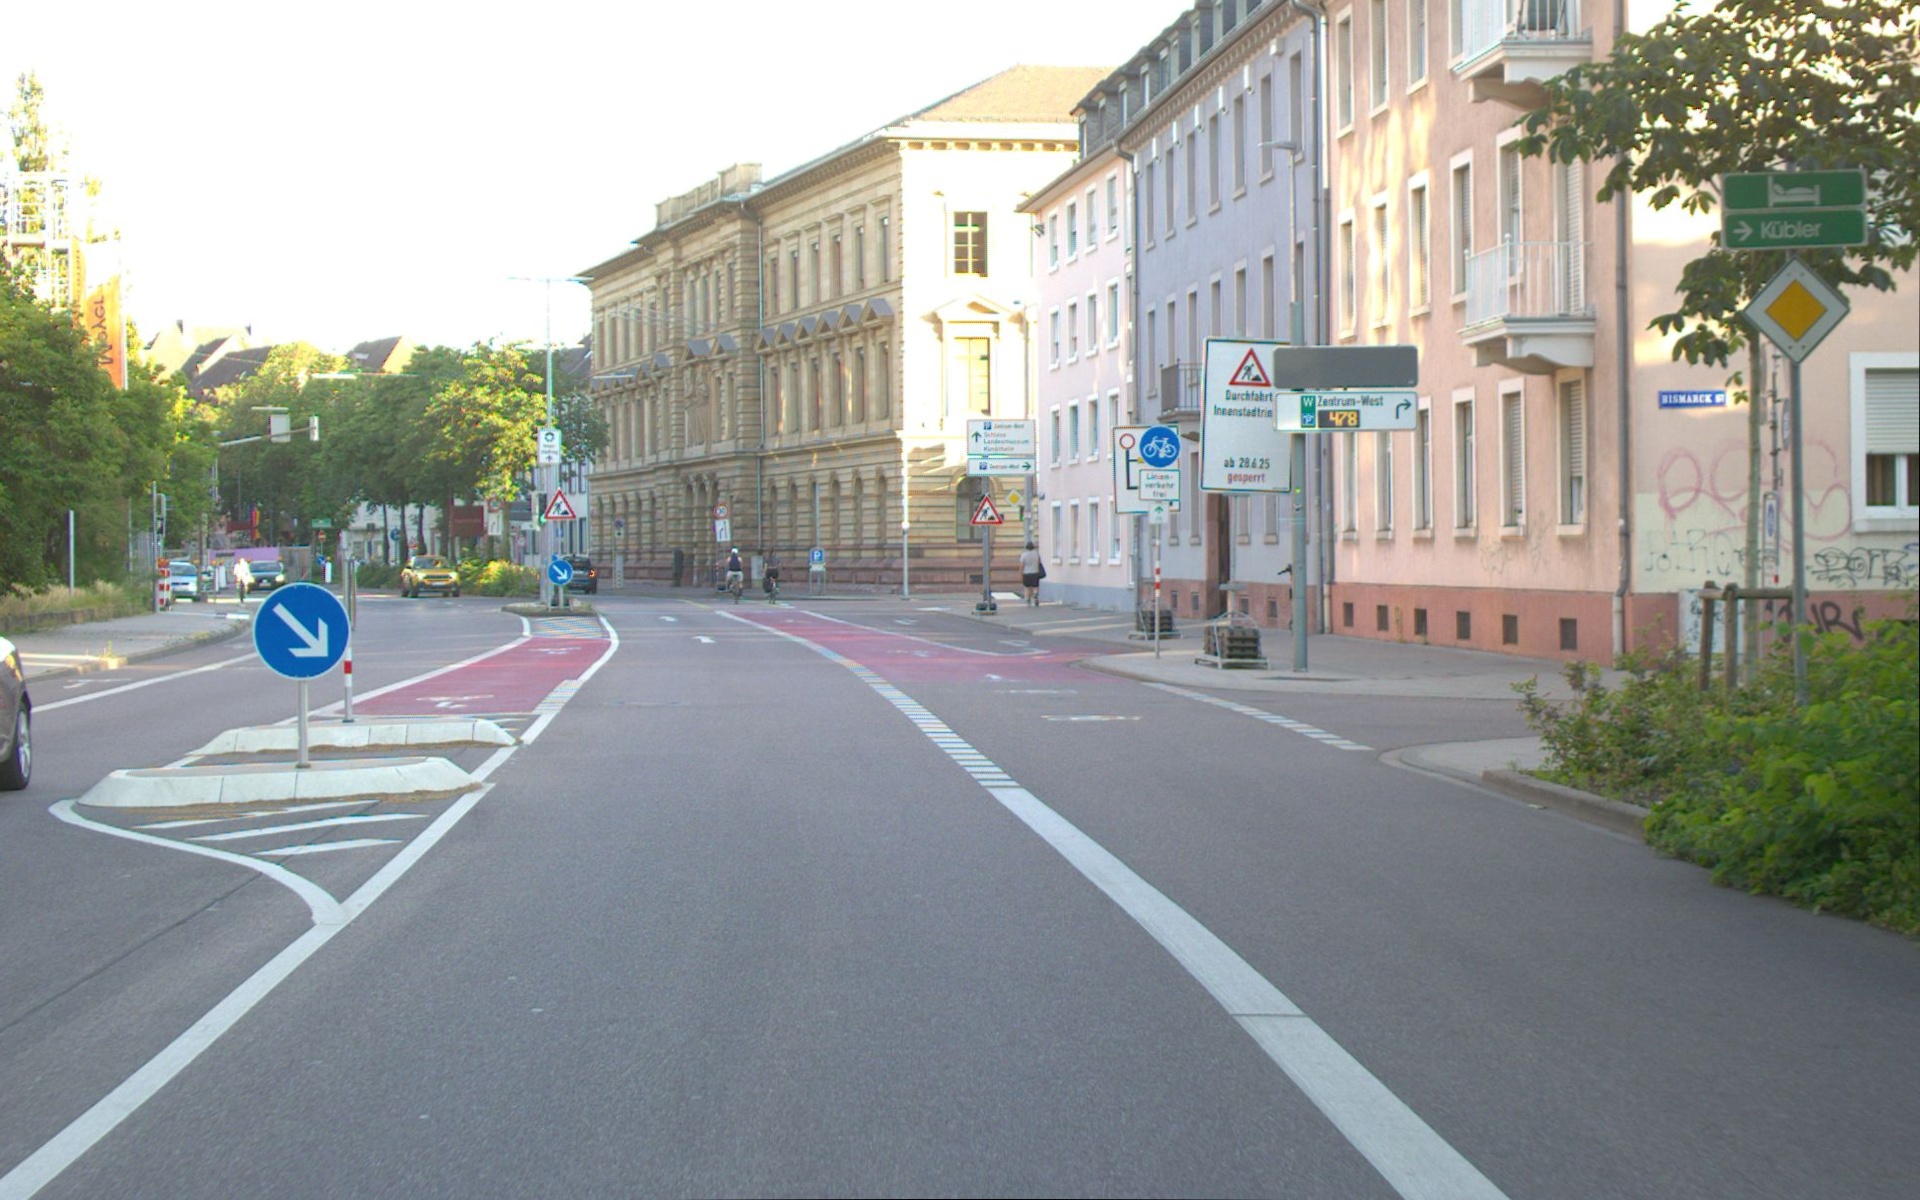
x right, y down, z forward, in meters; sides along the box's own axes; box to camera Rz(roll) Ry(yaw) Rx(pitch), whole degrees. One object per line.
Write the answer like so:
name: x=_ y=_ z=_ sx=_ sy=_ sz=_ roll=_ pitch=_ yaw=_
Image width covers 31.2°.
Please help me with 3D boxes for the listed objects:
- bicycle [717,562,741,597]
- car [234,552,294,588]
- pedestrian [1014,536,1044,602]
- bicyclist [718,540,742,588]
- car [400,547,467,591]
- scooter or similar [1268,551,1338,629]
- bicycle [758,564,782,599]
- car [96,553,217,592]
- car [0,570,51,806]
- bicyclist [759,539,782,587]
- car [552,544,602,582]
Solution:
bicycle: x=-7.090 y=-0.642 z=105.605 sx=0.652 sy=1.012 sz=2.198 roll=2 pitch=1 yaw=-5
car: x=-31.218 y=-1.335 z=154.061 sx=1.993 sy=1.579 sz=4.001 roll=0 pitch=1 yaw=-21
pedestrian: x=1.860 y=-0.837 z=92.568 sx=0.762 sy=1.749 sz=0.845 roll=0 pitch=1 yaw=2
bicyclist: x=-7.080 y=-1.112 z=105.708 sx=0.652 sy=1.441 sz=0.879 roll=2 pitch=1 yaw=-5
car: x=-19.553 y=-1.168 z=127.612 sx=1.993 sy=1.579 sz=4.001 roll=0 pitch=1 yaw=-16
scooter or similar: x=5.925 y=-0.187 z=59.503 sx=0.629 sy=1.332 sz=2.401 roll=0 pitch=1 yaw=-9
bicycle: x=-5.846 y=-0.582 z=105.649 sx=0.652 sy=1.012 sz=2.198 roll=2 pitch=1 yaw=-4
car: x=-29.336 y=-1.011 z=125.548 sx=3.993 sy=1.415 sz=1.997 roll=1 pitch=1 yaw=28
car: x=-6.867 y=0.581 z=21.229 sx=1.835 sy=1.434 sz=4.001 roll=-2 pitch=1 yaw=-7
bicyclist: x=-5.831 y=-1.141 z=105.645 sx=0.652 sy=1.470 sz=0.941 roll=2 pitch=1 yaw=-4
car: x=-15.580 y=-1.516 z=139.839 sx=1.867 sy=1.505 sz=4.001 roll=1 pitch=1 yaw=-8
